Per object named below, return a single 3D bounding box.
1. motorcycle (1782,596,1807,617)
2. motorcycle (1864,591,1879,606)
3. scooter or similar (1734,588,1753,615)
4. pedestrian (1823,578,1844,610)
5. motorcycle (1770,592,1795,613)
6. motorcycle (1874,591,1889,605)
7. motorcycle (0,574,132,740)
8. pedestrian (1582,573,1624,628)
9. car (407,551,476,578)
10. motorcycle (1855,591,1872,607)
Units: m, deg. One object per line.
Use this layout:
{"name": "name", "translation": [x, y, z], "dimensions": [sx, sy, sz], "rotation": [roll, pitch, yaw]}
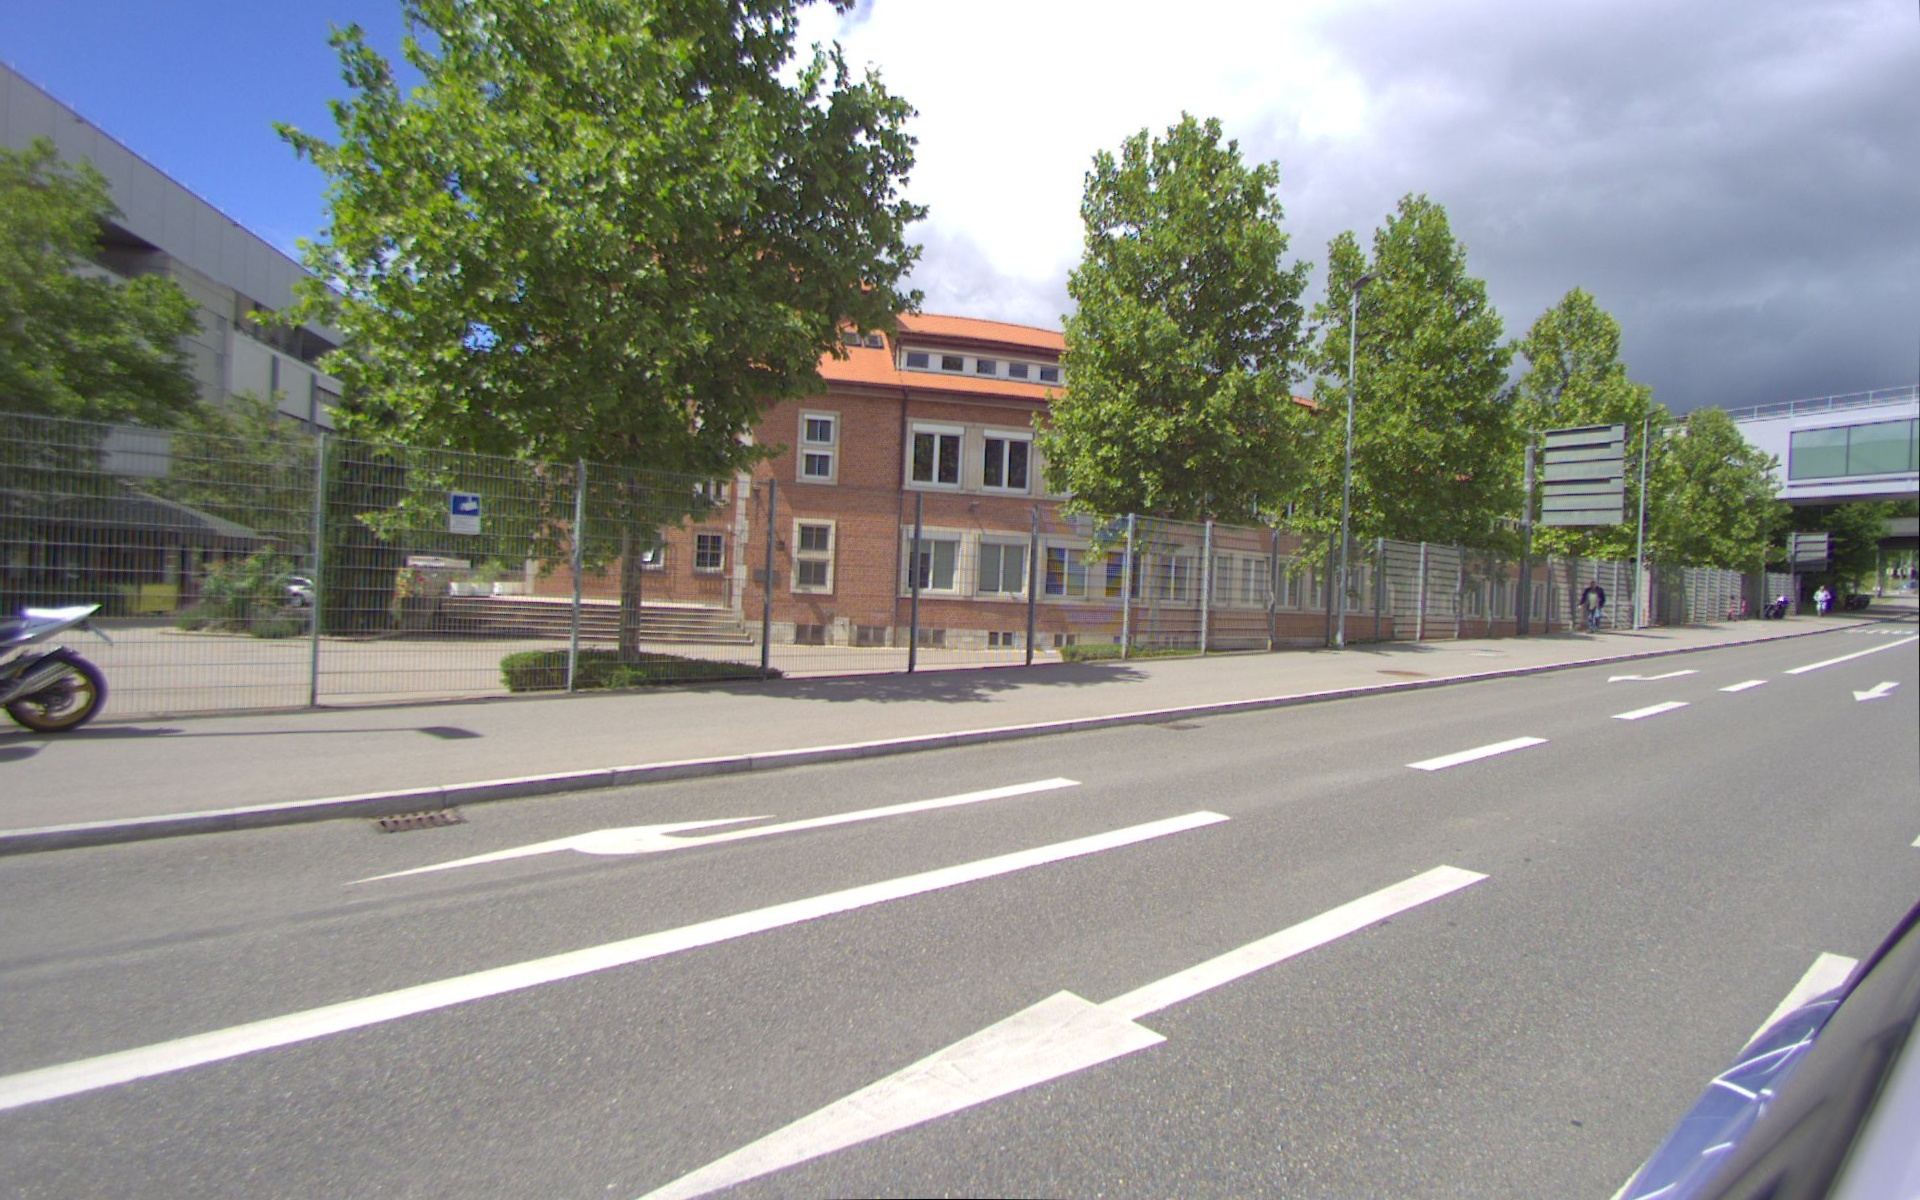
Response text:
{"name": "motorcycle", "translation": [46.849, 0.343, 56.819], "dimensions": [2.467, 1.077, 0.709], "rotation": [-1, 4, -43]}
{"name": "motorcycle", "translation": [71.017, -0.130, 78.818], "dimensions": [2.004, 1.096, 0.679], "rotation": [-1, 2, -43]}
{"name": "scooter or similar", "translation": [39.015, 0.067, 50.367], "dimensions": [1.314, 1.310, 0.492], "rotation": [0, 3, -42]}
{"name": "pedestrian", "translation": [53.370, -0.357, 61.855], "dimensions": [1.078, 1.911, 0.790], "rotation": [0, 2, -43]}
{"name": "motorcycle", "translation": [44.528, 0.145, 54.802], "dimensions": [2.209, 1.077, 0.669], "rotation": [0, 4, -43]}
{"name": "motorcycle", "translation": [73.205, -0.173, 80.363], "dimensions": [2.144, 1.096, 0.679], "rotation": [-1, 2, -43]}
{"name": "motorcycle", "translation": [-7.388, 0.409, 7.315], "dimensions": [0.693, 1.172, 2.113], "rotation": [4, 3, 44]}
{"name": "pedestrian", "translation": [21.388, 0.019, 33.684], "dimensions": [0.924, 1.764, 0.879], "rotation": [0, 3, -42]}
{"name": "car", "translation": [-35.896, -2.440, 70.157], "dimensions": [3.916, 1.805, 2.004], "rotation": [-1, 1, -13]}
{"name": "motorcycle", "translation": [68.467, -0.114, 76.706], "dimensions": [2.076, 1.168, 0.679], "rotation": [0, 2, -41]}
